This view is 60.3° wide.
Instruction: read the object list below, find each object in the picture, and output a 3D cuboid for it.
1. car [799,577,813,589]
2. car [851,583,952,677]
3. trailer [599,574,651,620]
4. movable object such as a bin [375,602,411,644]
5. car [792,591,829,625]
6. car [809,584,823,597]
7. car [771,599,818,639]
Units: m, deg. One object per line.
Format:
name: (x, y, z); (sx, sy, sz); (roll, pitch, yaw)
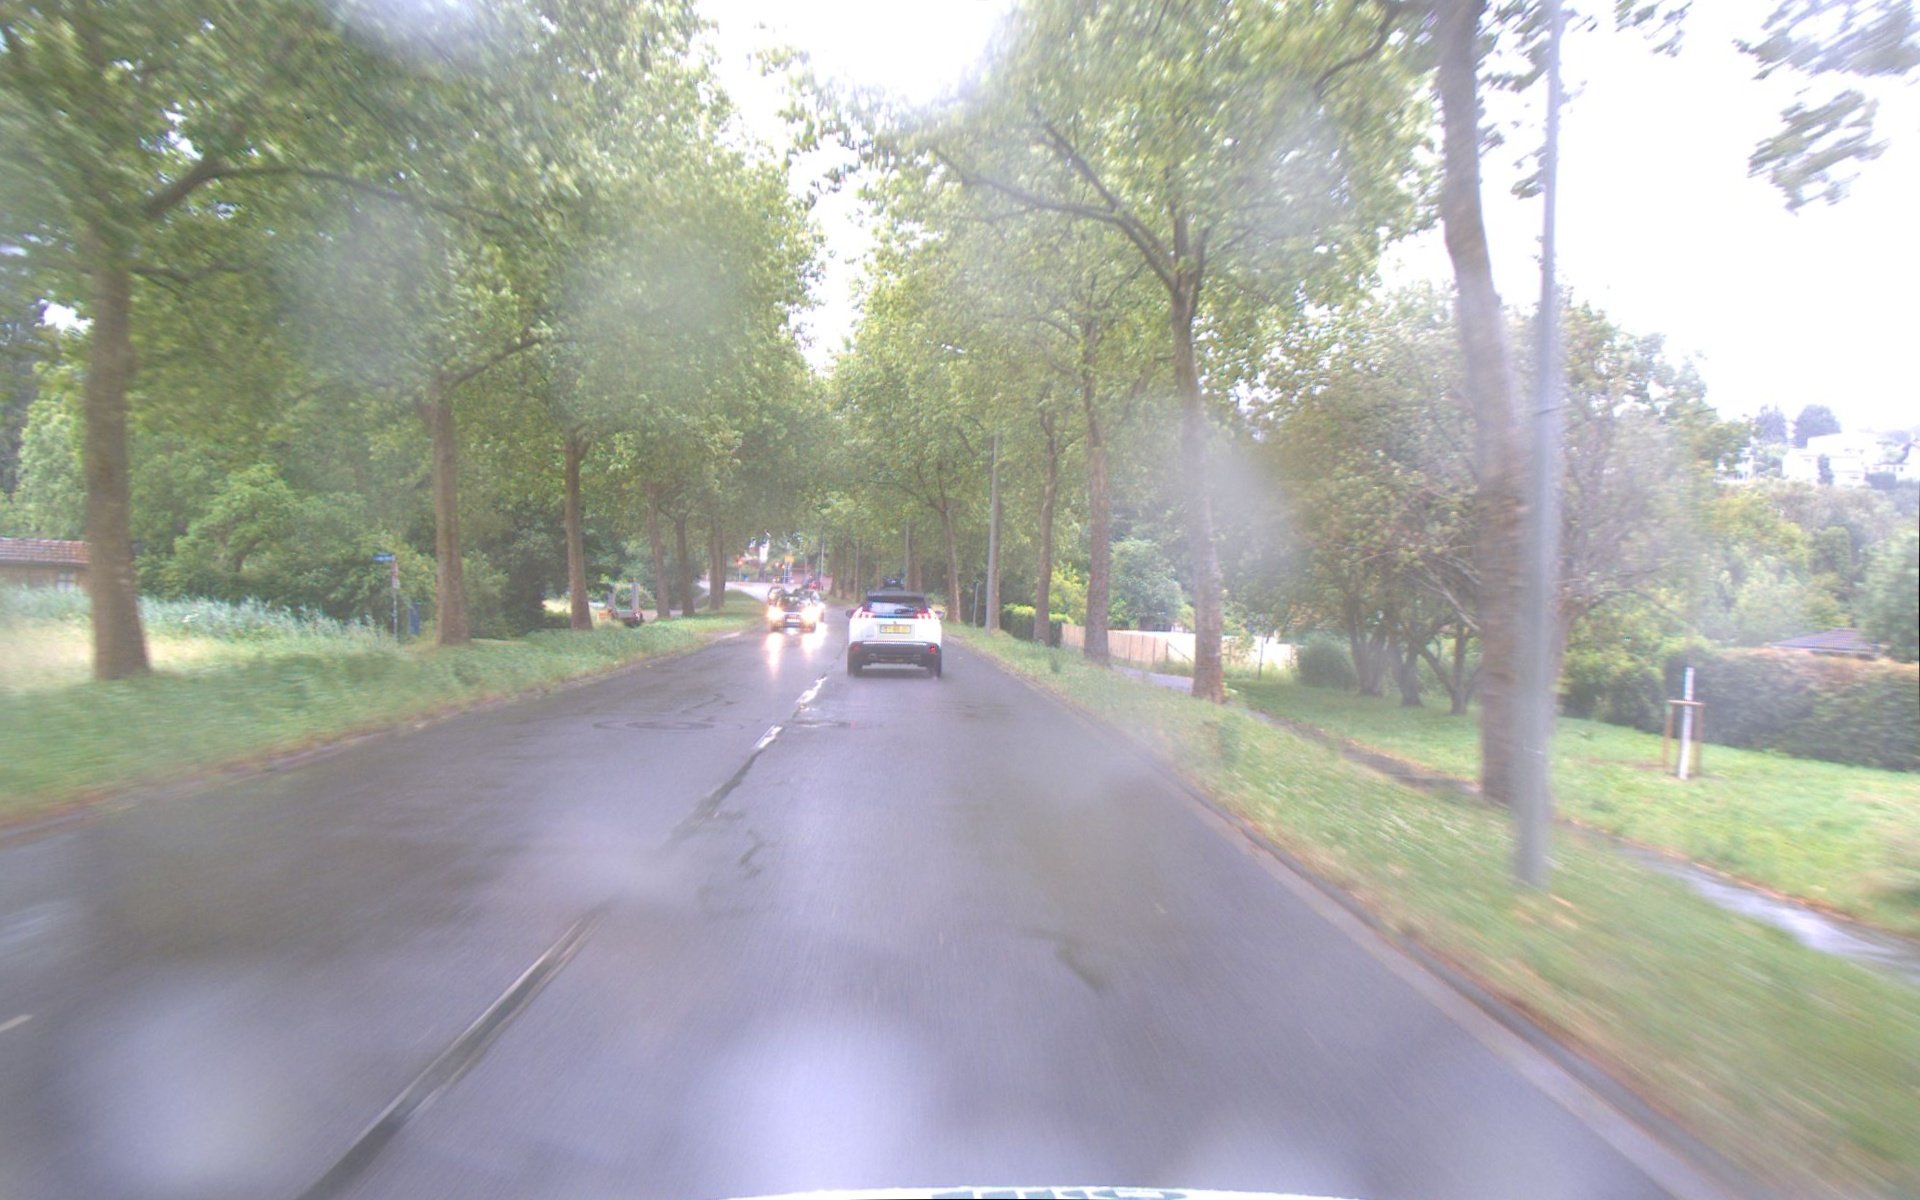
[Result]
car: (-22.077, -2.395, 237.641); (1.791, 1.624, 3.651); (2, 0, -4)
car: (-1.146, 0.520, 31.491); (1.758, 1.606, 3.842); (2, 0, -3)
trailer: (-20.317, -0.190, 100.422); (2.437, 2.612, 5.326); (2, 0, -6)
movable object such as a bin: (-20.112, 0.801, 58.697); (0.944, 1.447, 0.965); (2, 0, -6)
car: (-7.667, 0.397, 84.967); (1.697, 1.616, 4.307); (2, 0, -3)
car: (-19.791, -1.311, 227.957); (1.791, 1.624, 3.651); (2, 0, -4)
car: (-6.363, 0.706, 64.048); (1.697, 1.448, 4.221); (1, 0, -4)
